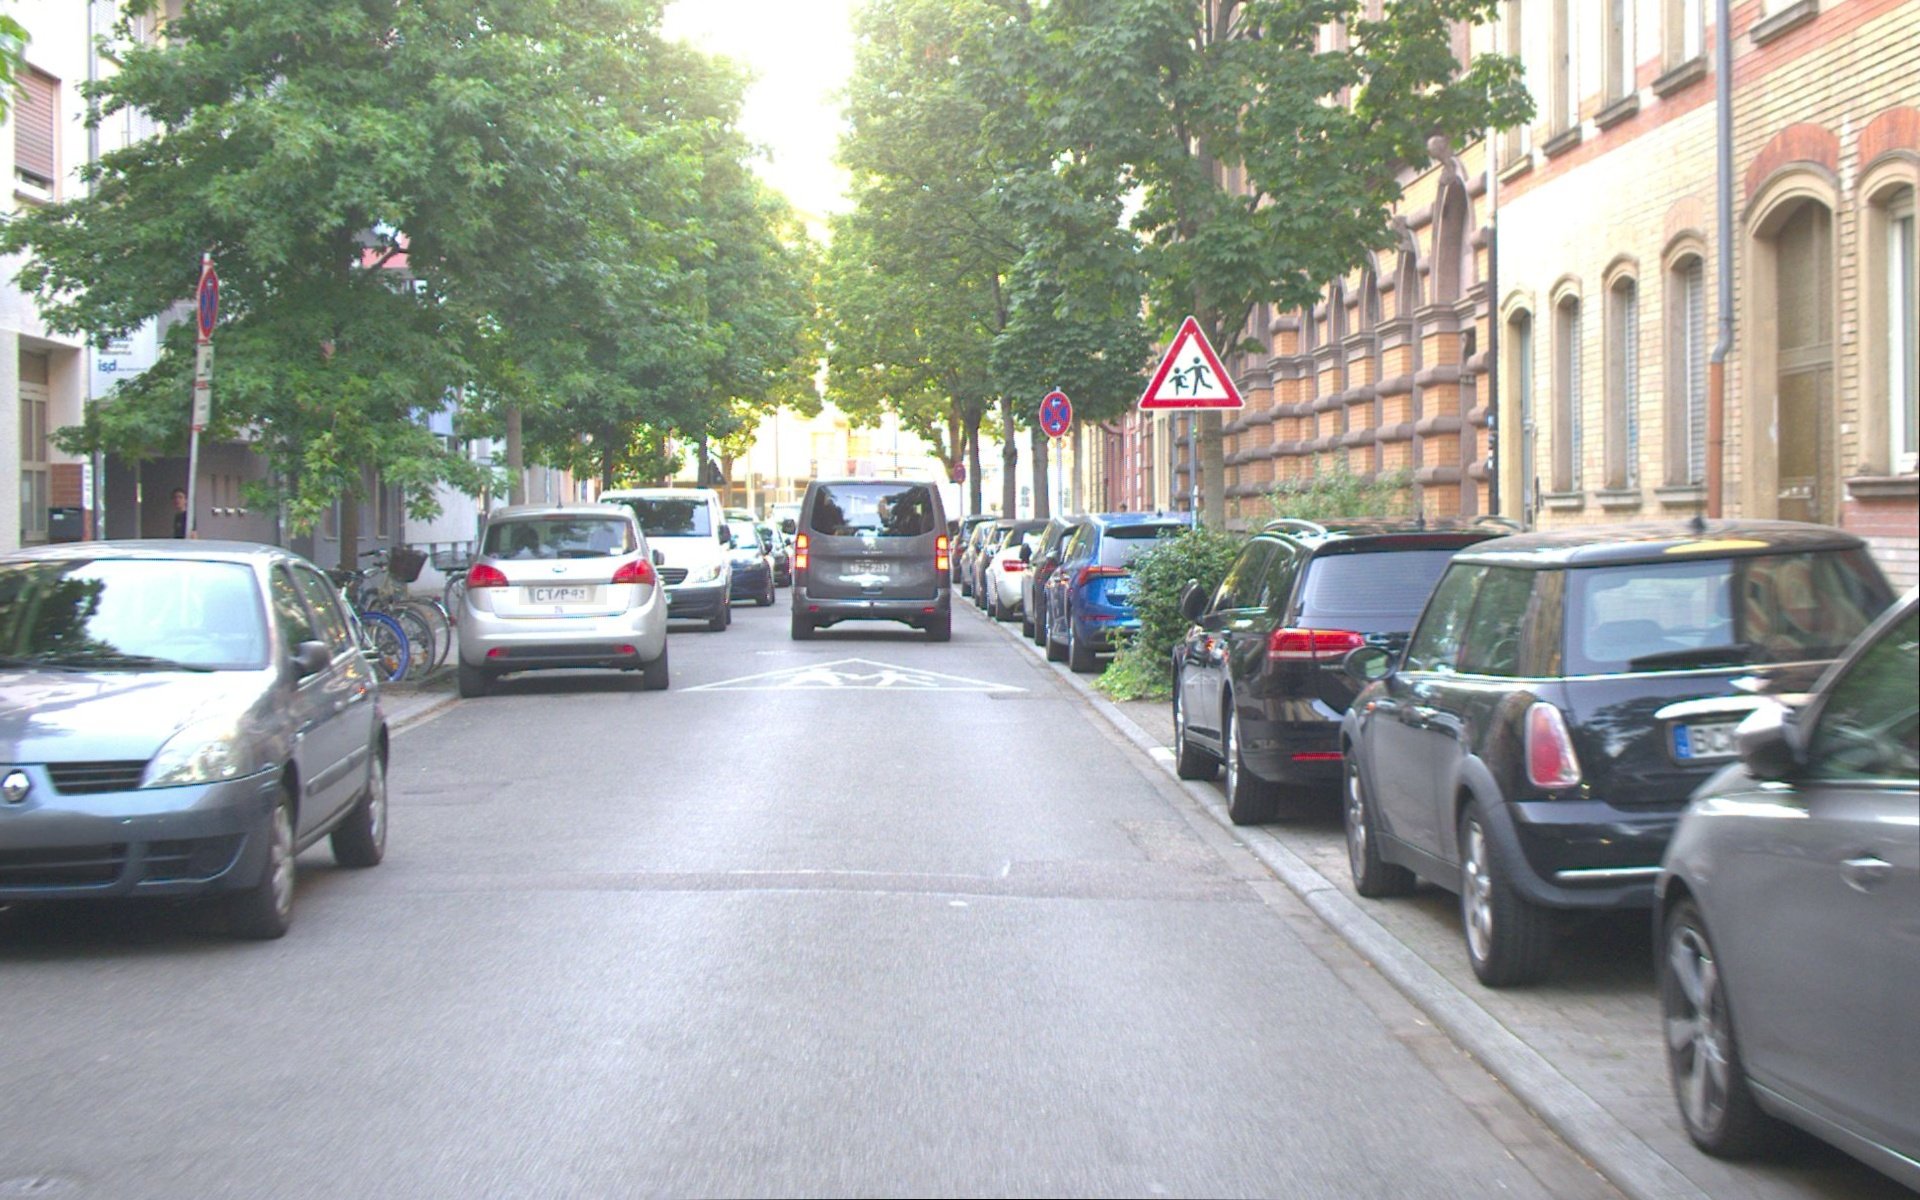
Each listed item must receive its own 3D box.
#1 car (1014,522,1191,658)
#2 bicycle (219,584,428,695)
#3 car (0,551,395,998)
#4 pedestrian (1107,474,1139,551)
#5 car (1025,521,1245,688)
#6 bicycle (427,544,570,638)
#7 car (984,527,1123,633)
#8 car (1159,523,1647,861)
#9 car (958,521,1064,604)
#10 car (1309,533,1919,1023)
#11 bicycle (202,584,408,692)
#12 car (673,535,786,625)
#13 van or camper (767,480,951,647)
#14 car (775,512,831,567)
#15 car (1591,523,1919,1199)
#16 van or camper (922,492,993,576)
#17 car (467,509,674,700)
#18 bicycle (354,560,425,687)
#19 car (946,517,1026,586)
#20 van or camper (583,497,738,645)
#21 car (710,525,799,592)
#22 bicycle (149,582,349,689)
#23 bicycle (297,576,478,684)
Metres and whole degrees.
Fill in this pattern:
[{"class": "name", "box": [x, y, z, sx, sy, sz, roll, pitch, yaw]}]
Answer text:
[{"class": "car", "box": [1.590, -0.157, 39.653, 1.711, 1.472, 4.193, 0, 1, -2]}, {"class": "bicycle", "box": [-5.353, 0.322, 28.940, 1.699, 0.904, 0.383, 0, 1, -31]}, {"class": "car", "box": [-3.200, 0.547, 13.064, 1.580, 1.415, 3.754, -1, 1, -2]}, {"class": "pedestrian", "box": [3.495, -1.885, 73.730, 0.627, 1.643, 0.532, 0, 1, -1]}, {"class": "car", "box": [1.600, -0.007, 32.711, 1.627, 1.461, 4.246, -1, 1, -3]}, {"class": "bicycle", "box": [-5.995, -0.126, 44.716, 0.698, 1.159, 1.818, 0, 2, 41]}, {"class": "car", "box": [1.300, -0.322, 49.488, 1.693, 1.396, 4.647, -1, 1, -2]}, {"class": "car", "box": [2.082, 0.353, 17.370, 1.766, 1.410, 4.474, -2, 1, -1]}, {"class": "car", "box": [0.966, -0.752, 66.724, 1.697, 1.477, 4.001, -2, 1, -3]}, {"class": "car", "box": [2.324, 0.501, 12.148, 1.635, 1.419, 3.565, -1, 1, -3]}, {"class": "bicycle", "box": [-5.583, 0.312, 29.338, 1.699, 0.895, 0.383, 0, 1, -31]}, {"class": "car", "box": [-3.992, -0.374, 60.187, 1.830, 1.512, 4.517, 0, 1, -2]}, {"class": "van or camper", "box": [-1.154, -0.463, 41.160, 2.035, 1.891, 4.271, 0, 1, 1]}, {"class": "car", "box": [-4.675, -1.815, 102.379, 1.630, 1.425, 3.544, -1, 4, -2]}, {"class": "car", "box": [2.591, 0.597, 6.543, 1.716, 1.471, 4.369, -2, 2, -3]}, {"class": "van or camper", "box": [-0.104, -2.094, 108.714, 1.993, 2.590, 5.425, 0, 1, -3]}, {"class": "car", "box": [-3.394, -0.011, 30.501, 1.663, 1.557, 4.001, -1, 1, -5]}, {"class": "bicycle", "box": [-5.115, 0.197, 30.887, 0.419, 1.100, 1.665, 0, 1, -2]}, {"class": "car", "box": [0.597, -1.158, 80.512, 1.611, 1.553, 3.767, -1, 1, -3]}, {"class": "van or camper", "box": [-3.928, -0.432, 45.753, 1.876, 1.836, 4.754, -1, 2, -3]}, {"class": "car", "box": [-4.642, -0.965, 78.155, 1.846, 1.446, 4.503, 0, 1, -1]}, {"class": "bicycle", "box": [-6.136, 0.298, 29.698, 1.660, 0.895, 0.383, 0, 1, -31]}, {"class": "bicycle", "box": [-5.422, 0.272, 32.498, 1.728, 0.991, 0.575, 0, 2, 32]}]
